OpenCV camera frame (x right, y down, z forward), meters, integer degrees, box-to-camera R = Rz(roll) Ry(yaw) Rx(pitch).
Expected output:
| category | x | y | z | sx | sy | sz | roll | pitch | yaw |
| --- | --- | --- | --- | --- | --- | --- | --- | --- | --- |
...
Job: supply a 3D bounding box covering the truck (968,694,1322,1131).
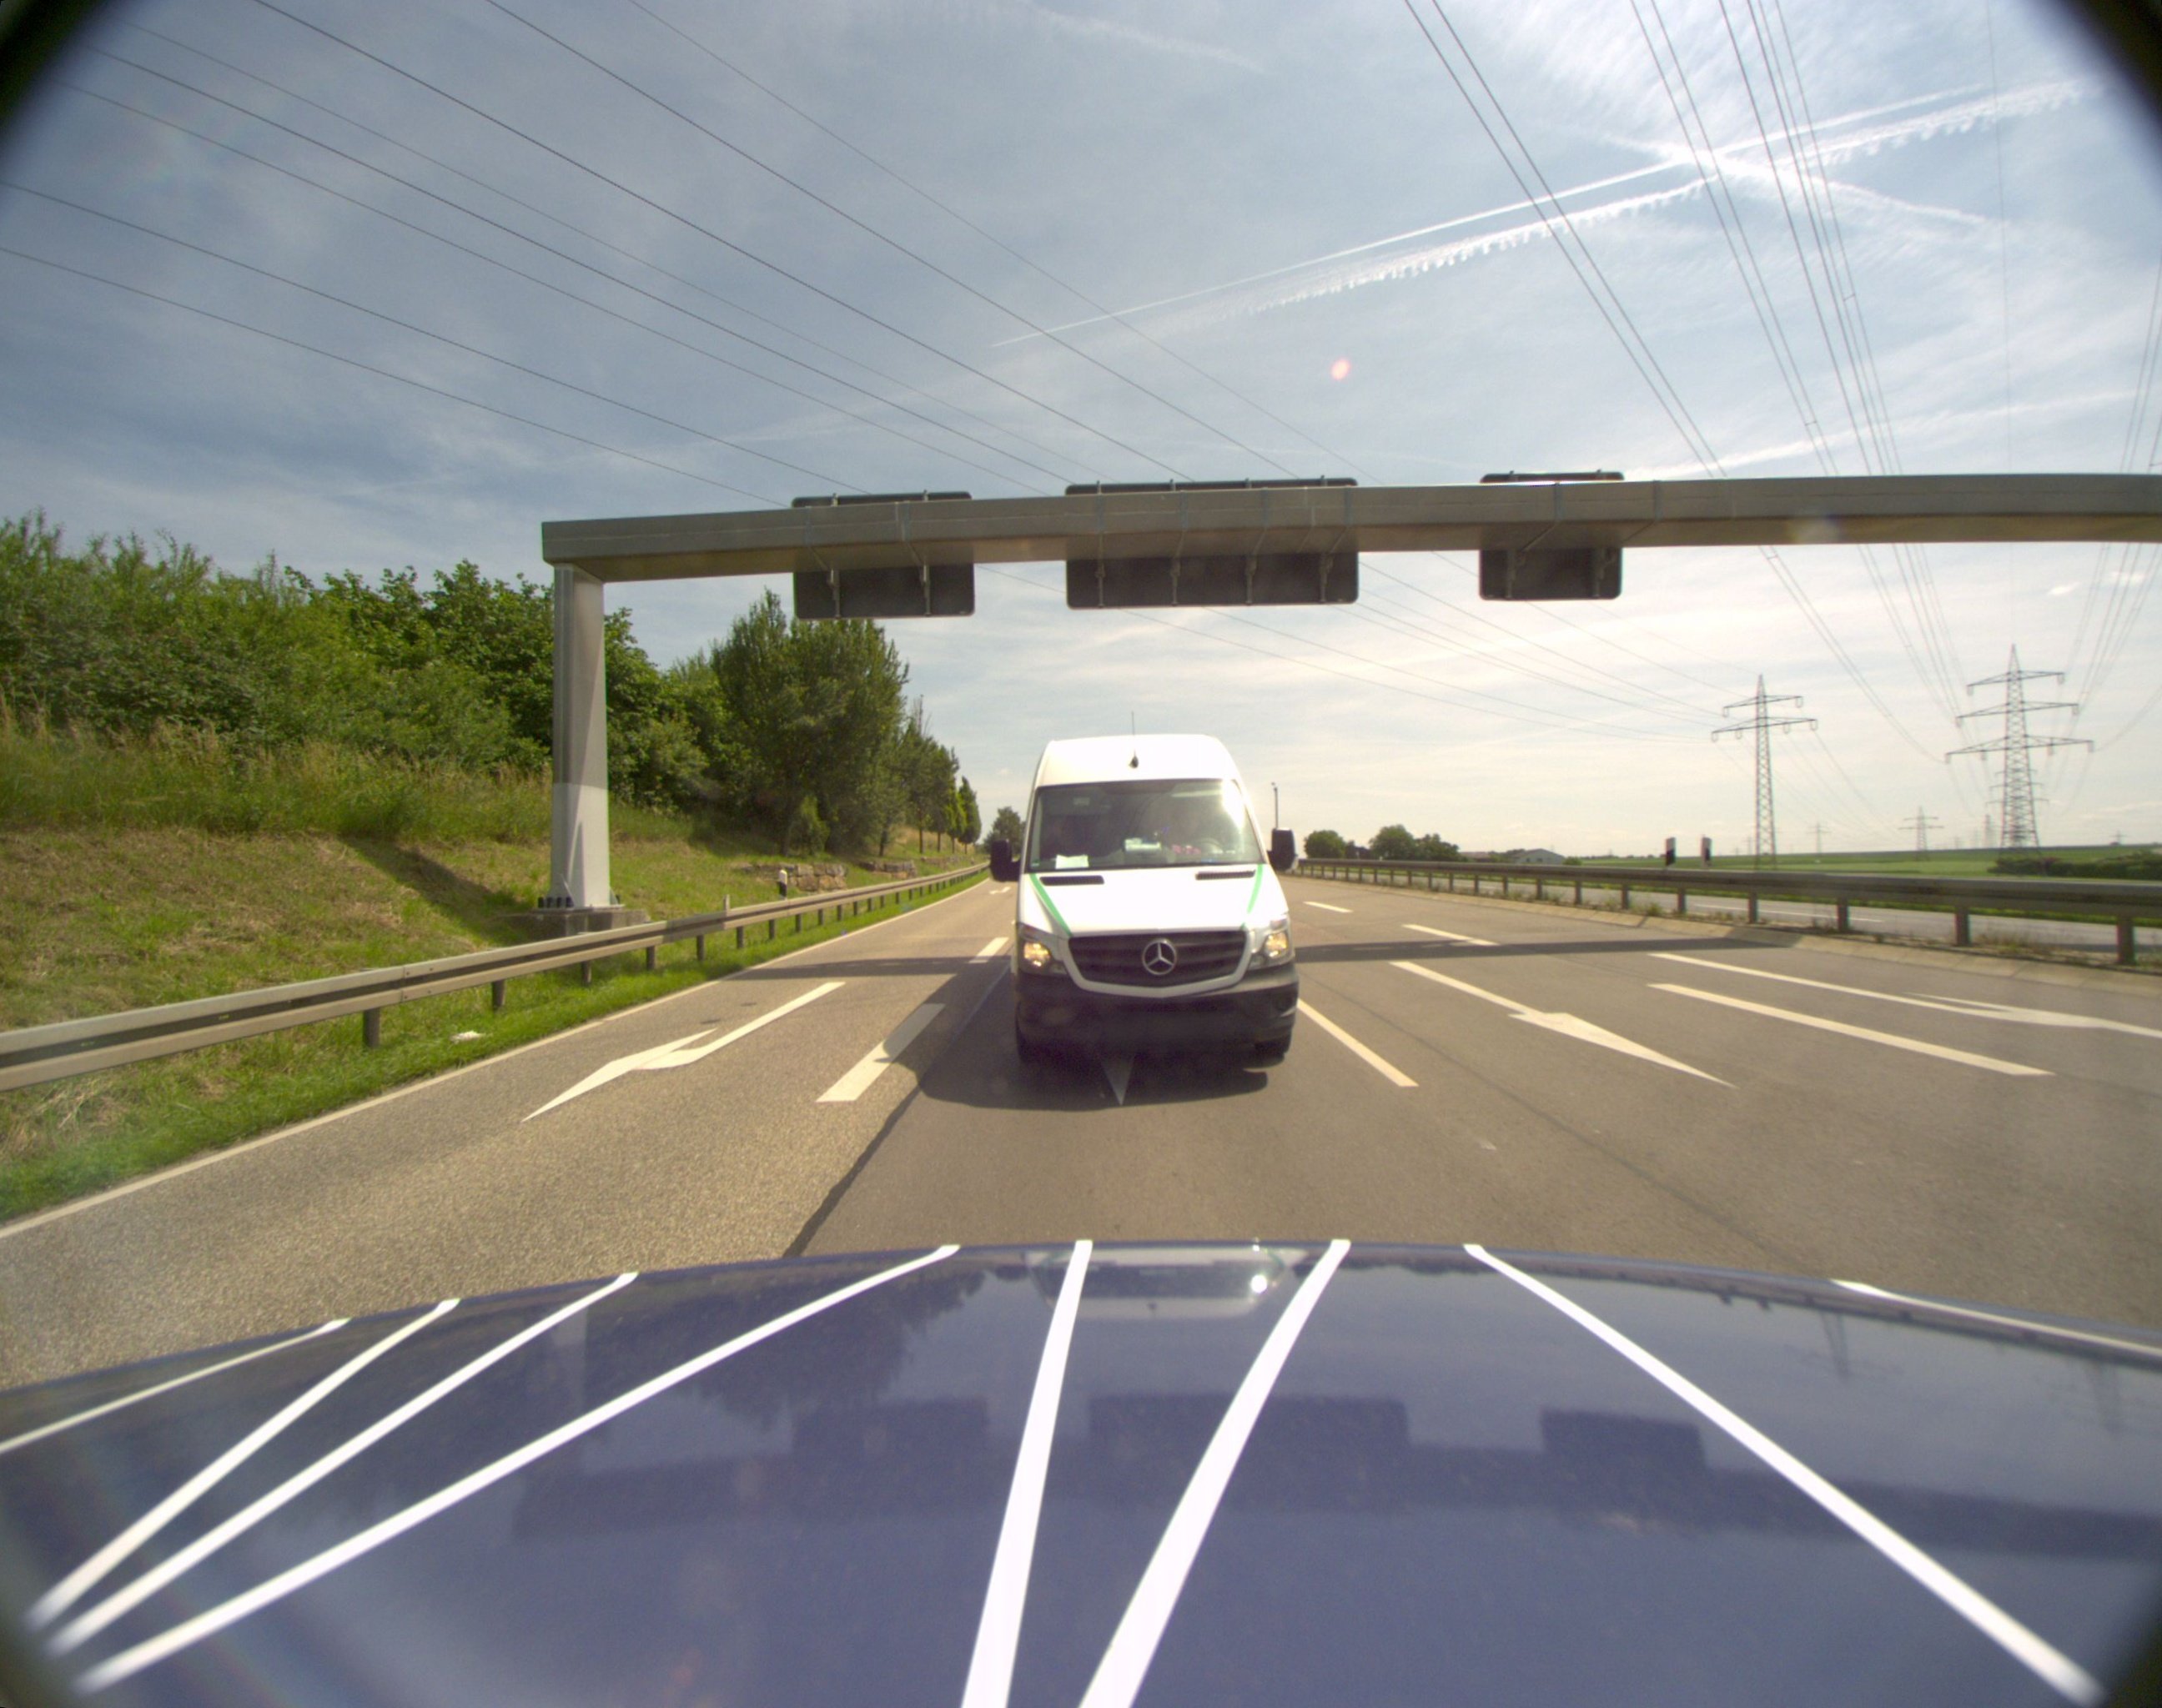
| category | x | y | z | sx | sy | sz | roll | pitch | yaw |
| --- | --- | --- | --- | --- | --- | --- | --- | --- | --- |
| truck | 0.469 | 0.330 | 7.008 | 1.998 | 2.518 | 5.105 | -2 | 1 | 2 |
